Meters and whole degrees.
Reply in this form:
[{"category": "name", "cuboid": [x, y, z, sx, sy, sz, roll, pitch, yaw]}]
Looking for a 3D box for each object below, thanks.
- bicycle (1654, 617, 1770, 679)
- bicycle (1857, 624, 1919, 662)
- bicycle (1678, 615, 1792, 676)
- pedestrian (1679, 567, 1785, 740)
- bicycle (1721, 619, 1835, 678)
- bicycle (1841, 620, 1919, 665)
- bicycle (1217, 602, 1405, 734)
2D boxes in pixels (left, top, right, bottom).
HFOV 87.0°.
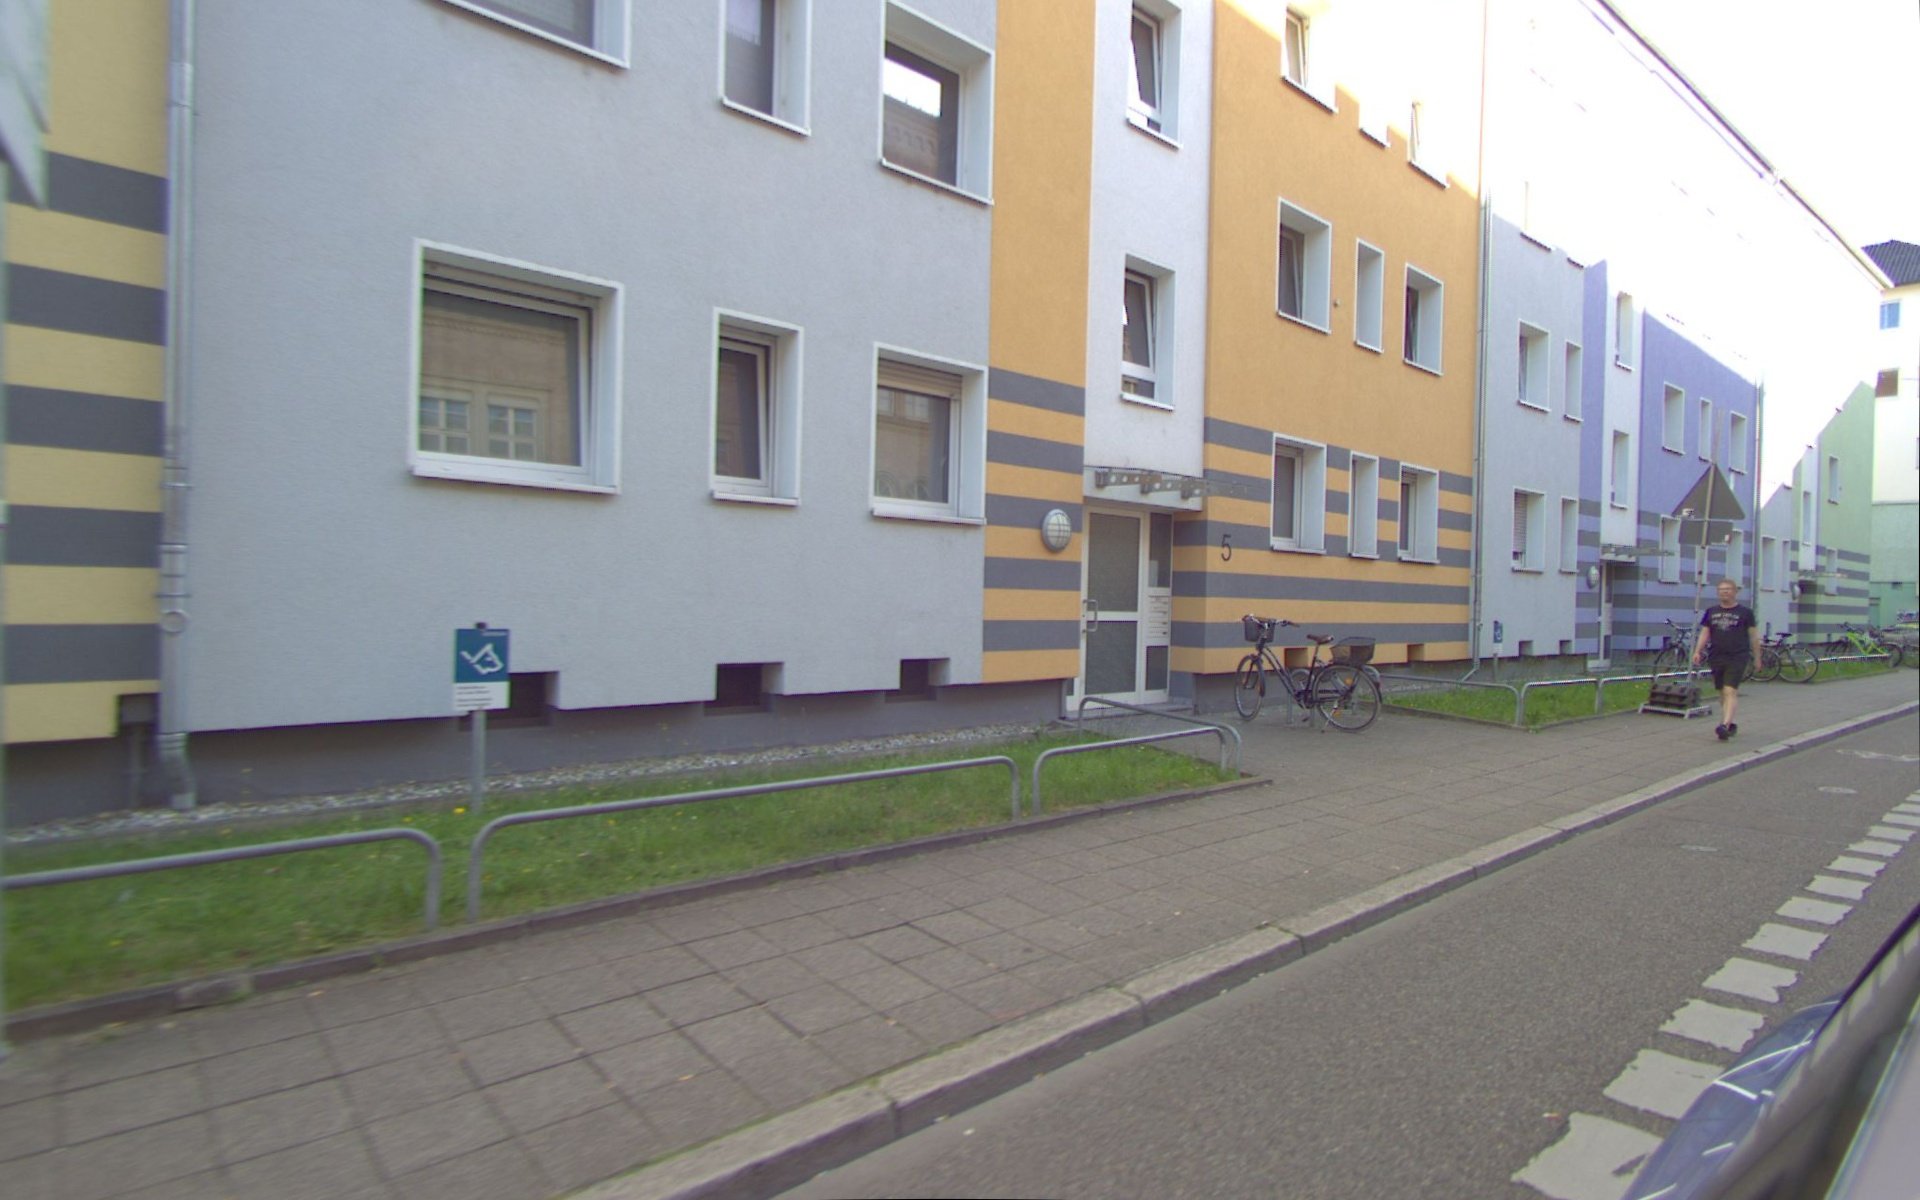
[{"category": "bicycle", "cuboid": [14.723, 0.919, 19.840, 0.625, 1.058, 1.709, 1, 2, -41]}, {"category": "bicycle", "cuboid": [27.094, 1.237, 29.241, 0.507, 0.990, 1.707, 1, 2, -45]}, {"category": "bicycle", "cuboid": [15.663, 0.890, 20.480, 0.625, 1.095, 1.709, 1, 2, -42]}, {"category": "pedestrian", "cuboid": [8.619, 0.573, 11.299, 0.899, 1.810, 0.646, 1, 3, -40]}, {"category": "bicycle", "cuboid": [16.579, 0.954, 20.539, 0.626, 1.048, 1.707, 1, 2, -45]}, {"category": "bicycle", "cuboid": [25.902, 1.179, 28.415, 0.575, 1.117, 1.707, 1, 2, -45]}, {"category": "bicycle", "cuboid": [3.605, 0.654, 10.494, 0.626, 1.173, 1.707, 1, 2, -45]}]
